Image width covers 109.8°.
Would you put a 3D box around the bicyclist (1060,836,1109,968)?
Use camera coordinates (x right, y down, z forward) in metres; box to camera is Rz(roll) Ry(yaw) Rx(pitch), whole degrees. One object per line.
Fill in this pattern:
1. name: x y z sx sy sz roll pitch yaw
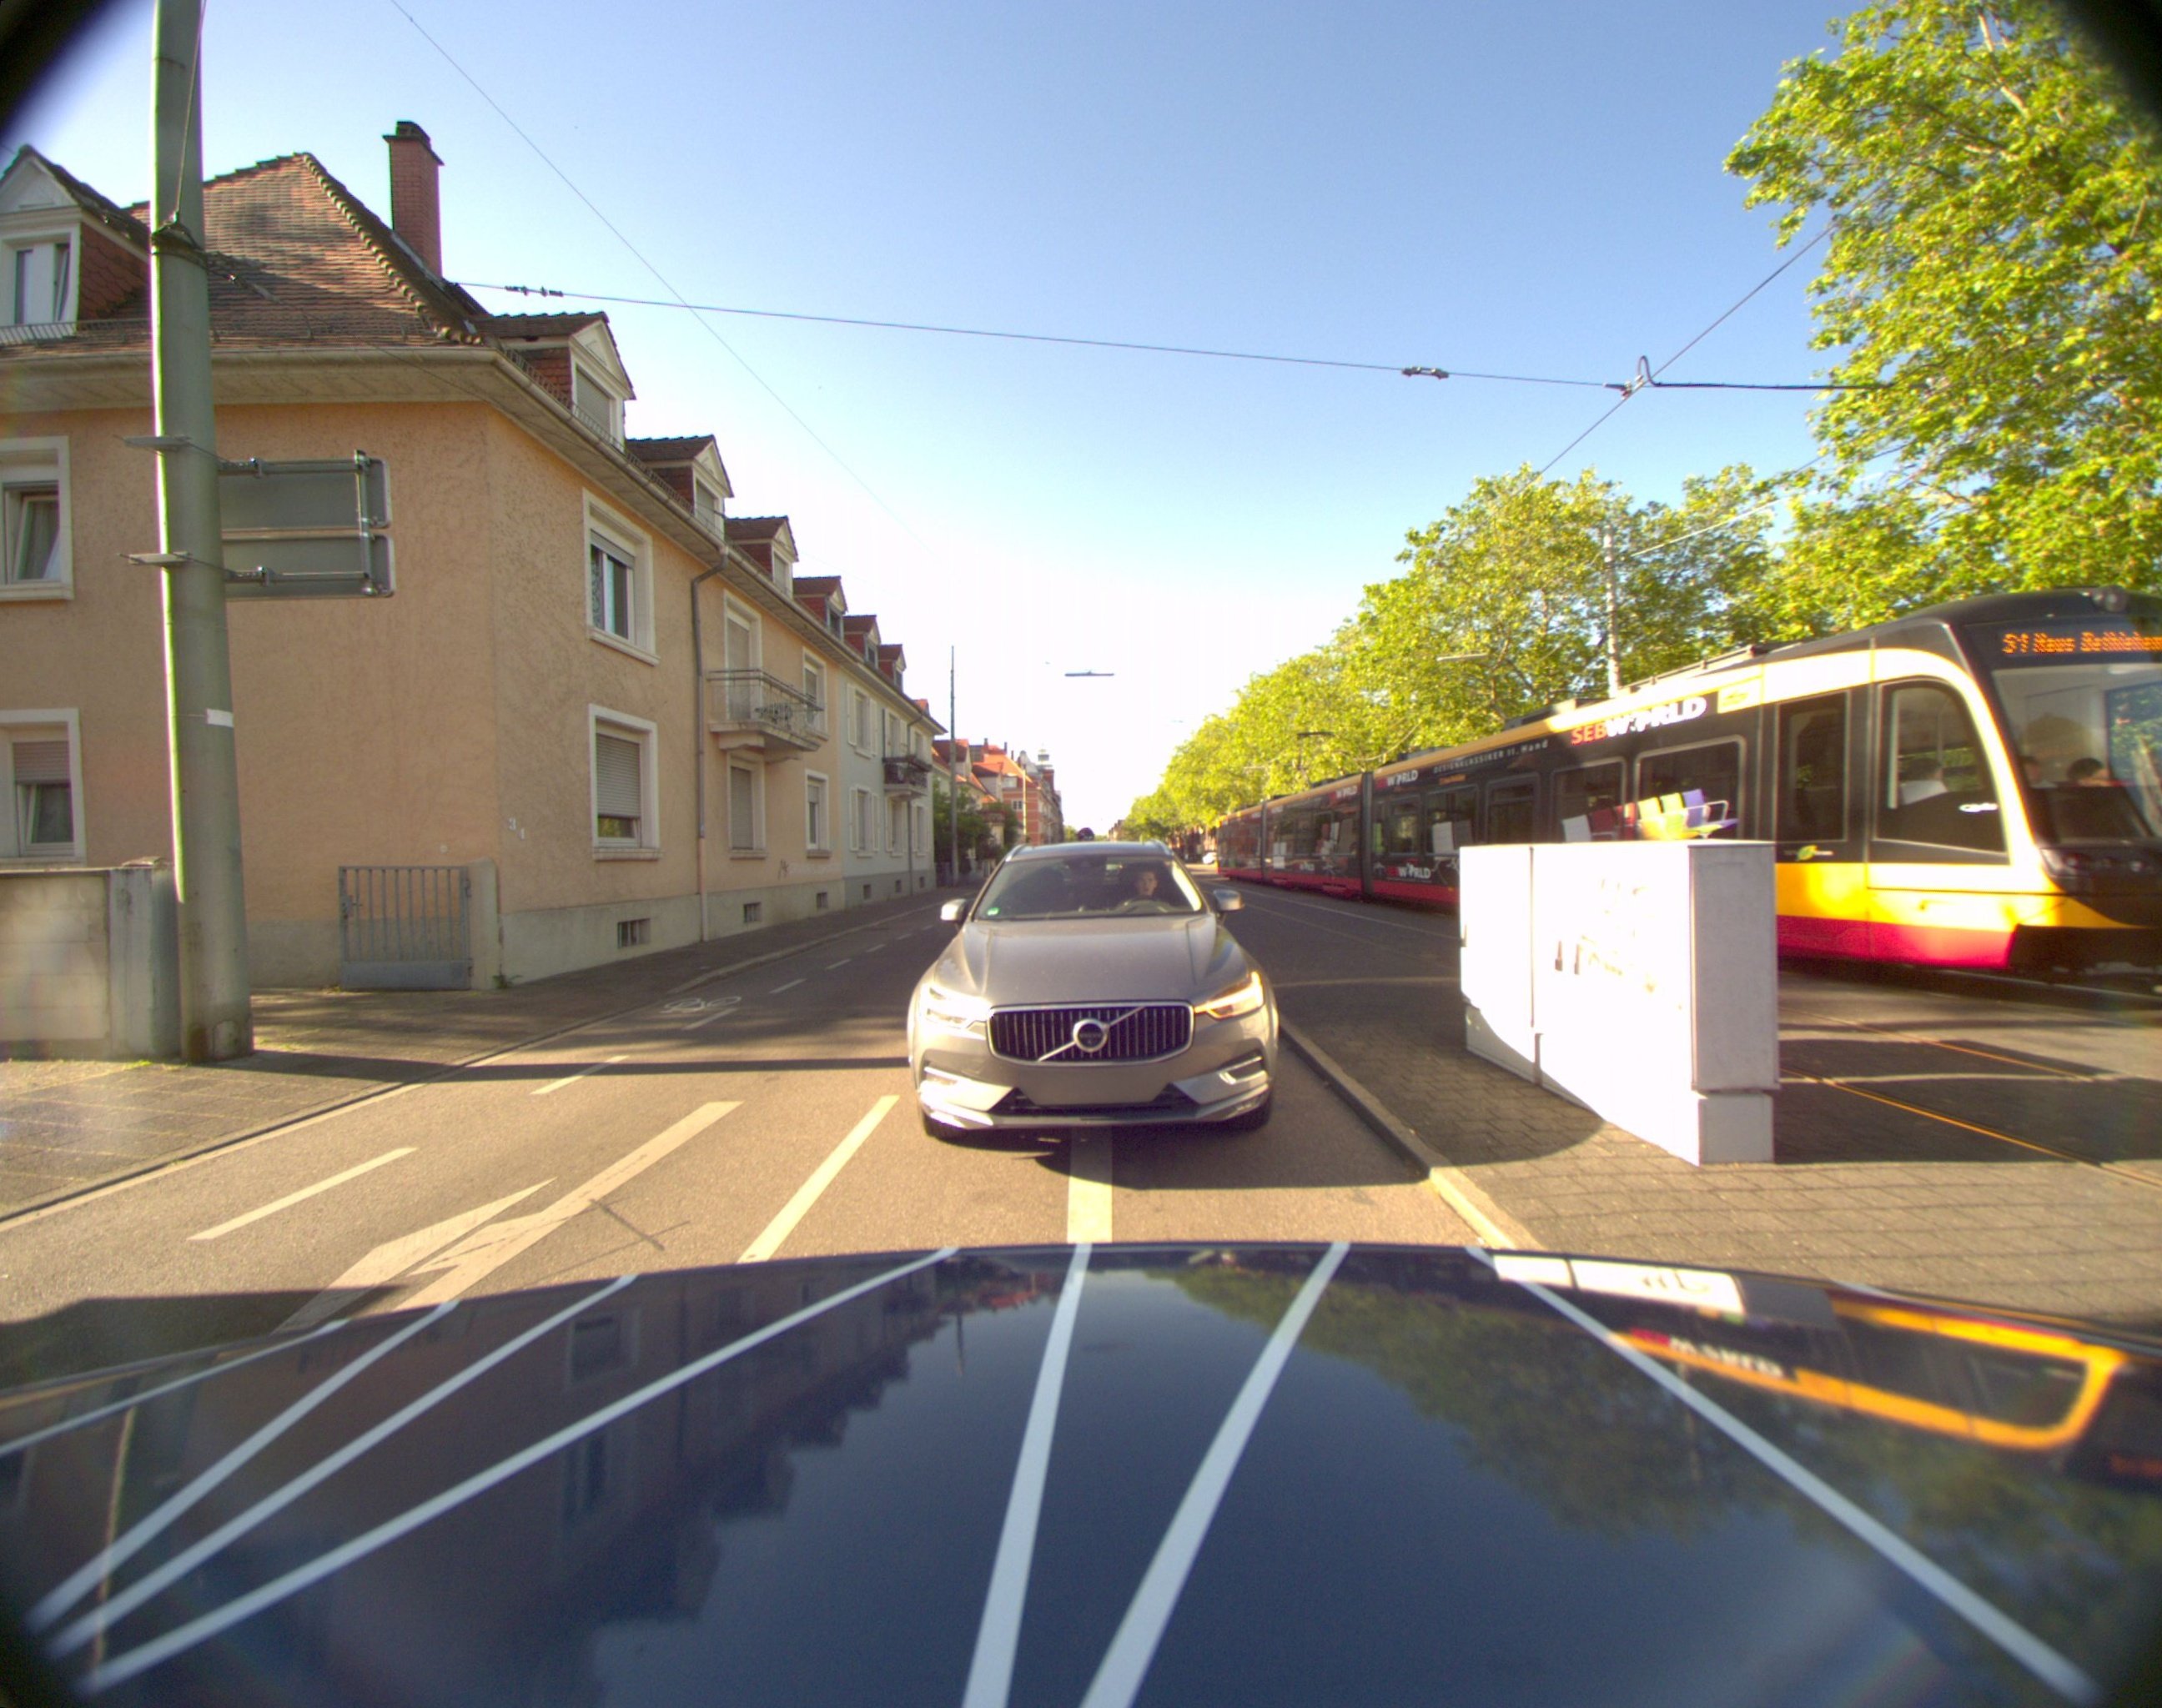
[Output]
1. bicyclist: 0.052 0.625 10.218 0.600 1.709 0.662 -1 1 1

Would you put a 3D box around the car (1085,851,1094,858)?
1. car: 1.727 0.096 154.457 1.882 1.477 3.999 -1 0 -1

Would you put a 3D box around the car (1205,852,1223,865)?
1. car: 17.636 0.583 100.873 1.882 1.542 4.000 -1 0 2

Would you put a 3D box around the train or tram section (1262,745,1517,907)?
1. train or tram section: 8.372 -0.660 23.072 3.062 3.592 11.949 -1 0 1

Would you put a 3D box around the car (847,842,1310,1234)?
1. car: 0.020 0.767 5.446 1.917 1.621 4.502 -1 0 1

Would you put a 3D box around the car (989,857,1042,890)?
1. car: -3.139 0.919 37.168 1.881 1.477 4.001 -1 0 5

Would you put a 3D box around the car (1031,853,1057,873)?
1. car: -2.937 0.686 60.980 1.882 1.477 3.999 -1 0 -1

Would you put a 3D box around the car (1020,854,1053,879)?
1. car: -2.782 0.782 48.422 1.882 1.477 3.999 -1 0 -1

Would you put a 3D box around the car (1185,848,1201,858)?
1. car: 18.517 -0.211 125.679 1.882 1.542 3.999 -1 0 -2

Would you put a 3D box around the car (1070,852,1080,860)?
1. car: -1.117 0.304 148.565 1.882 1.477 3.999 -1 0 -1

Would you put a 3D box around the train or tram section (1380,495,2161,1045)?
1. train or tram section: 8.218 -0.595 11.034 3.063 3.592 12.114 -1 0 1

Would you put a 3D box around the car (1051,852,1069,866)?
1. car: -2.332 0.544 85.747 1.882 1.477 3.999 -1 0 -1

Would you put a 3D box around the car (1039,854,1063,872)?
1. car: -2.605 0.771 66.707 1.882 1.477 3.999 -1 0 -1

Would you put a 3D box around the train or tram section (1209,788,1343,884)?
1. train or tram section: 8.538 -0.714 35.484 3.063 3.592 12.888 -1 0 1

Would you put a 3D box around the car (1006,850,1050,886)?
1. car: -2.906 0.726 42.853 1.932 1.834 5.313 -1 0 2
